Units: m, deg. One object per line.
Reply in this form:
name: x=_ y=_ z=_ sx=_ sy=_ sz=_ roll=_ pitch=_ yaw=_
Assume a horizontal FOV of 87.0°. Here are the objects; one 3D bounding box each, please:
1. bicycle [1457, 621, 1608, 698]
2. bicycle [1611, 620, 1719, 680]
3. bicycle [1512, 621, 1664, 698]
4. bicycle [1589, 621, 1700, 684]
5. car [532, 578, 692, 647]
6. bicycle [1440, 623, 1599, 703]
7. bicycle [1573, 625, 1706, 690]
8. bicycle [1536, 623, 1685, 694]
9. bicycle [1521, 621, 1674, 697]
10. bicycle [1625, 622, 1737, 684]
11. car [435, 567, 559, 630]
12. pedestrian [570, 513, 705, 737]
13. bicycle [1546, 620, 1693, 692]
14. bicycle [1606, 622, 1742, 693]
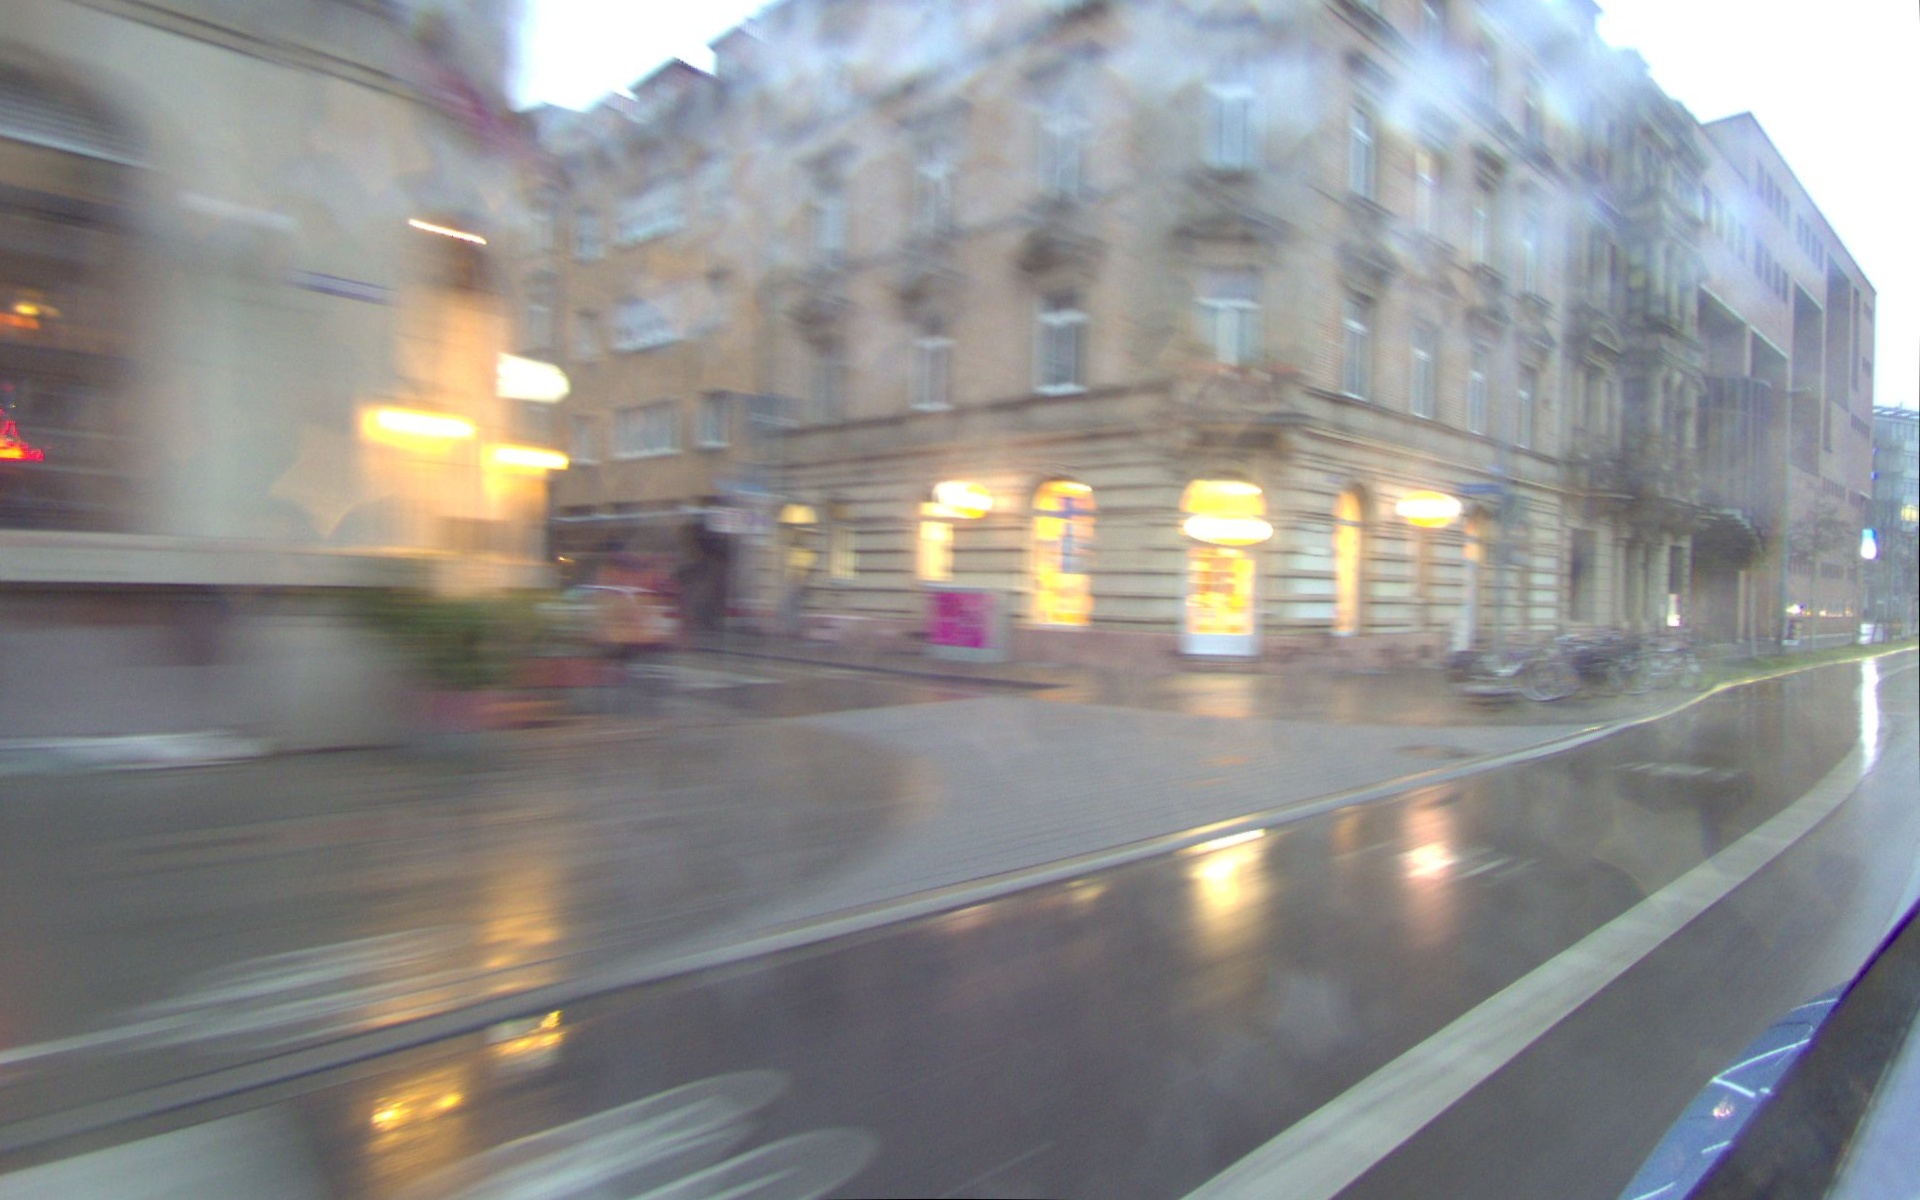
bicycle: x=9.402 y=0.940 z=16.699 sx=0.470 sy=1.065 sz=2.091 roll=1 pitch=2 yaw=-42
bicycle: x=14.293 y=1.001 z=20.564 sx=0.365 sy=1.068 sz=1.733 roll=1 pitch=2 yaw=-42
bicycle: x=10.590 y=0.973 z=17.143 sx=0.470 sy=1.065 sz=2.091 roll=1 pitch=3 yaw=-42
bicycle: x=13.384 y=1.006 z=19.837 sx=0.365 sy=1.068 sz=1.733 roll=1 pitch=2 yaw=-42
car: x=-8.442 y=0.253 z=24.385 sx=4.178 sy=1.438 sz=1.824 roll=2 pitch=1 yaw=42
bicycle: x=8.632 y=0.953 z=15.707 sx=2.071 sy=1.065 sz=0.474 roll=3 pitch=1 yaw=24
bicycle: x=12.867 y=1.063 z=19.225 sx=0.418 sy=0.983 sz=2.012 roll=1 pitch=3 yaw=-42
bicycle: x=11.506 y=1.005 z=17.984 sx=0.476 sy=1.068 sz=2.148 roll=1 pitch=2 yaw=-42
bicycle: x=10.948 y=0.984 z=17.456 sx=0.418 sy=1.068 sz=2.148 roll=2 pitch=2 yaw=-42
bicycle: x=14.177 y=1.018 z=19.950 sx=0.365 sy=1.068 sz=1.733 roll=1 pitch=2 yaw=-42
car: x=-13.485 y=-0.080 z=29.374 sx=4.098 sy=1.641 sz=1.775 roll=2 pitch=1 yaw=42
pedestrian: x=-3.097 y=0.215 z=9.774 sx=0.845 sy=2.039 sz=0.912 roll=1 pitch=0 yaw=19
bicycle: x=11.921 y=0.983 z=18.359 sx=0.418 sy=1.068 sz=2.148 roll=2 pitch=2 yaw=-42
bicycle: x=13.491 y=1.054 z=19.192 sx=0.418 sy=1.108 sz=2.012 roll=1 pitch=3 yaw=-42
